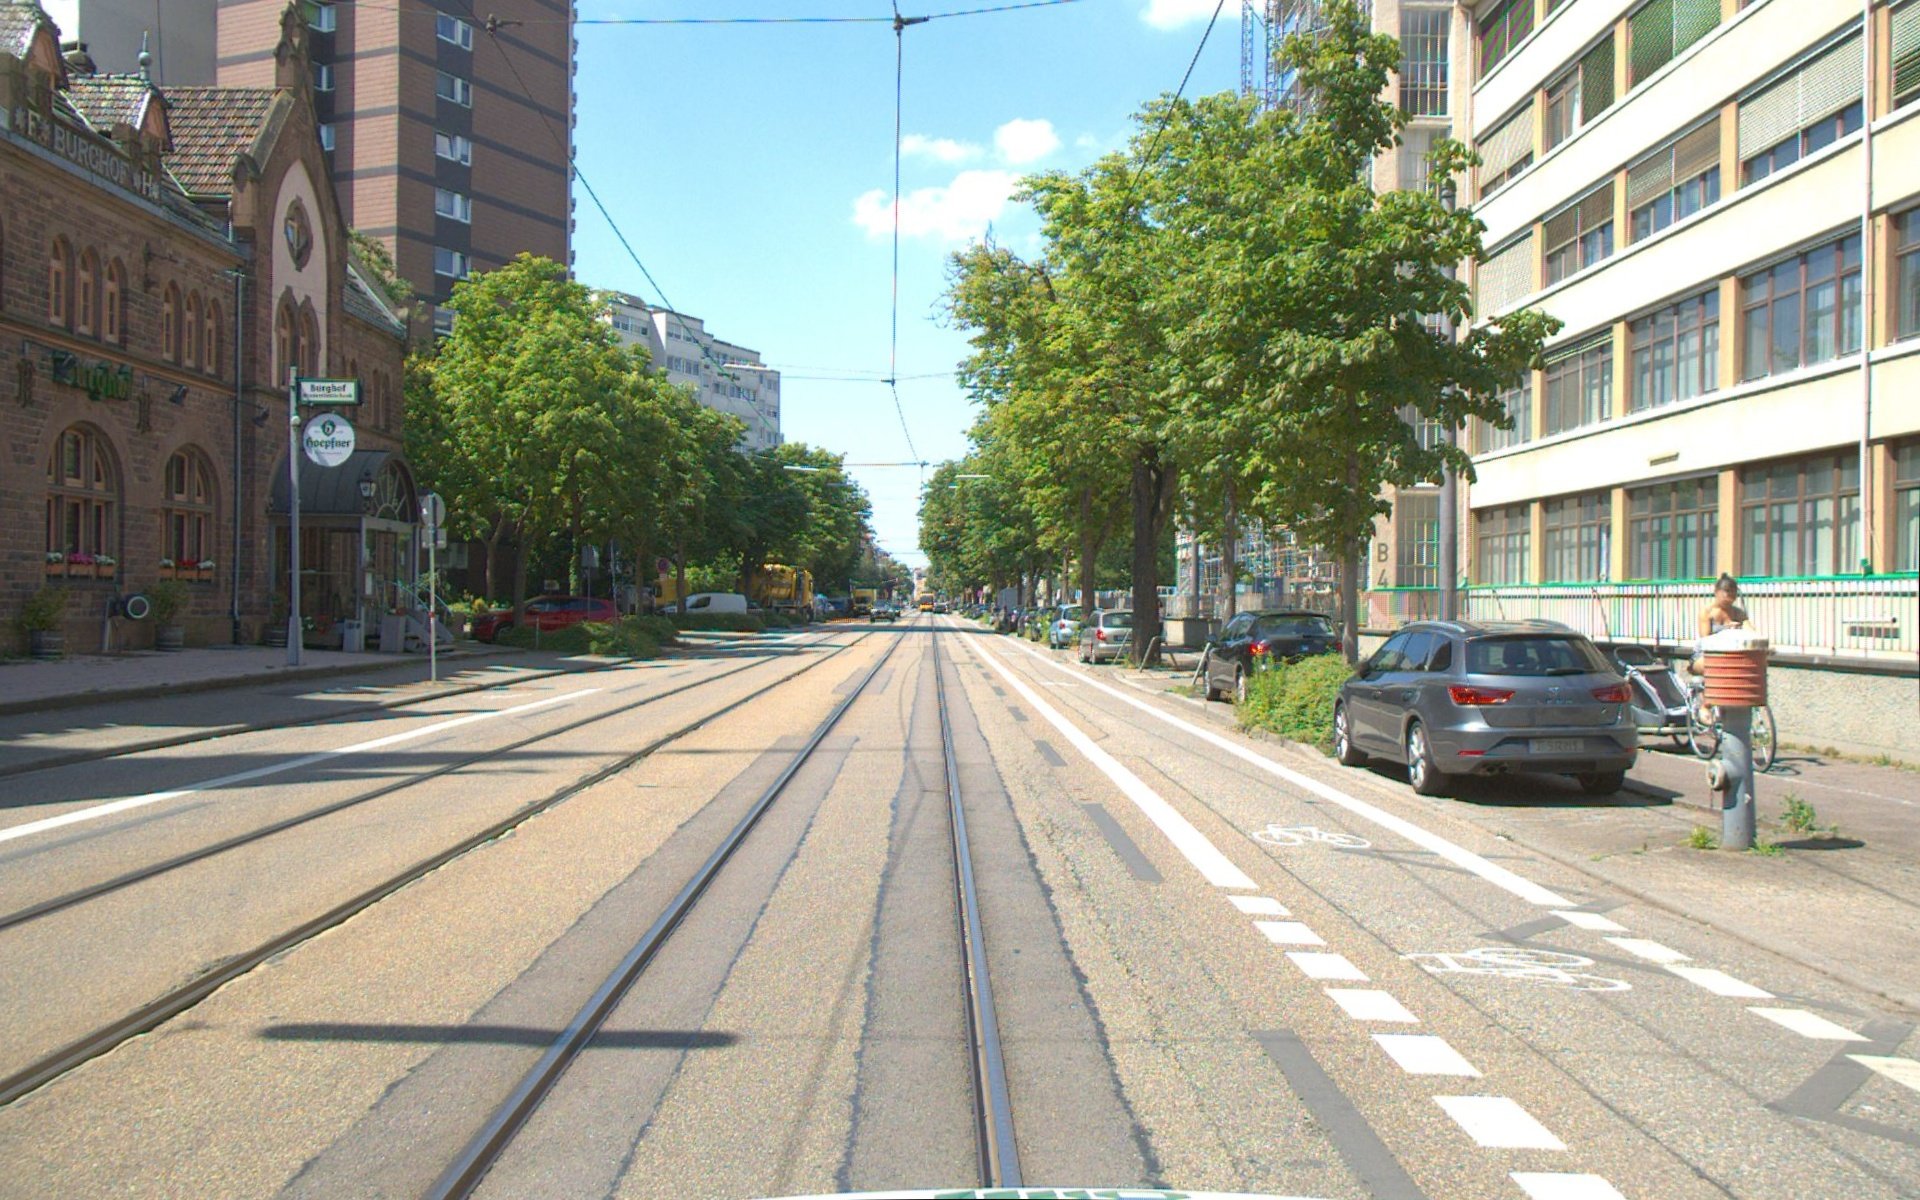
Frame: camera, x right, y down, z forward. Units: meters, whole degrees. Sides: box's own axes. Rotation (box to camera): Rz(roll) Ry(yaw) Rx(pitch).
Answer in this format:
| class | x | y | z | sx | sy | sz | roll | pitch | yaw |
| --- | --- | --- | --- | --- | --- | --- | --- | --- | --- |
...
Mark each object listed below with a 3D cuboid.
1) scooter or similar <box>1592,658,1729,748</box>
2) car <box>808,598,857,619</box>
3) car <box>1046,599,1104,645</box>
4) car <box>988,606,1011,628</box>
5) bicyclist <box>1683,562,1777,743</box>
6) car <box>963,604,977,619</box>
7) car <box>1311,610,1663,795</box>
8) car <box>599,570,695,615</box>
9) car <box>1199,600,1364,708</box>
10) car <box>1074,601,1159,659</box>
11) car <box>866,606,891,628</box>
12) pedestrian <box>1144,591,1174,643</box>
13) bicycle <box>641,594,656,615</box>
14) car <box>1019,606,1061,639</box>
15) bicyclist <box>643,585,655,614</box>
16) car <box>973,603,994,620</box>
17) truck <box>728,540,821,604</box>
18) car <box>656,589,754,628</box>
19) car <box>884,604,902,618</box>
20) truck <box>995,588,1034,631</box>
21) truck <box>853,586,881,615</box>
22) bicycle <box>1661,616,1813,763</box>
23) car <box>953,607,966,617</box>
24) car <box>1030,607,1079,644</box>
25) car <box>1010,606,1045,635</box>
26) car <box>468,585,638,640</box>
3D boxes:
| class | x | y | z | sx | sy | sz | roll | pitch | yaw |
| --- | --- | --- | --- | --- | --- | --- | --- | --- | --- |
| scooter or similar | 7.337 | 1.062 | 17.397 | 0.746 | 0.821 | 1.555 | -2 | 0 | -1 |
| car | -12.979 | 0.862 | 168.350 | 4.718 | 2.098 | 1.997 | -1 | 0 | -40 |
| car | 4.033 | 0.757 | 58.552 | 1.637 | 1.544 | 4.200 | 0 | 0 | -2 |
| car | 2.826 | 1.214 | 119.395 | 1.610 | 1.561 | 3.785 | 0 | 0 | 0 |
| bicyclist | 7.352 | 0.490 | 15.807 | 0.569 | 1.677 | 0.599 | -1 | 0 | -1 |
| car | 1.151 | 1.384 | 194.240 | 1.560 | 1.645 | 3.906 | -1 | -1 | -2 |
| car | 4.660 | 0.819 | 15.405 | 1.637 | 1.433 | 4.747 | 0 | 0 | -2 |
| car | -19.683 | -0.448 | 104.345 | 2.137 | 2.611 | 6.713 | 0 | -2 | 29 |
| car | 4.803 | 0.757 | 25.221 | 1.637 | 1.516 | 3.979 | 0 | 0 | -2 |
| car | 4.255 | 0.785 | 45.634 | 1.638 | 1.525 | 4.362 | 0 | 0 | -4 |
| car | -6.335 | 1.335 | 129.237 | 1.793 | 1.710 | 4.183 | 0 | 0 | -1 |
| pedestrian | 6.306 | 0.548 | 52.438 | 0.783 | 1.616 | 0.919 | -1 | 0 | -2 |
| bicycle | -16.431 | 0.220 | 87.309 | 0.507 | 1.065 | 1.875 | 2 | 0 | -3 |
| car | 3.741 | 1.031 | 78.227 | 1.787 | 1.497 | 4.486 | 0 | 0 | 0 |
| bicyclist | -16.420 | -0.031 | 87.308 | 0.471 | 1.507 | 0.780 | 2 | 0 | -3 |
| car | 2.149 | 1.047 | 153.230 | 1.606 | 1.511 | 3.869 | 0 | -1 | -4 |
| truck | -12.483 | -1.793 | 112.557 | 2.657 | 3.909 | 10.972 | 1 | -1 | 13 |
| car | -12.795 | 0.412 | 83.014 | 4.492 | 1.822 | 1.879 | 2 | 0 | -34 |
| car | -6.912 | 1.104 | 170.313 | 1.738 | 1.422 | 4.286 | -1 | 0 | -1 |
| truck | 3.263 | 0.554 | 99.710 | 1.974 | 2.532 | 5.954 | 0 | 0 | -2 |
| truck | -9.509 | 0.057 | 168.828 | 2.312 | 2.902 | 7.378 | -1 | 0 | 1 |
| bicycle | 7.355 | 0.811 | 15.751 | 0.543 | 1.287 | 1.773 | -2 | 0 | -1 |
| car | -0.101 | 1.684 | 231.828 | 1.676 | 1.448 | 4.308 | -1 | -1 | -1 |
| car | 3.867 | 1.045 | 68.167 | 1.637 | 1.463 | 4.040 | 0 | 0 | -2 |
| car | 3.624 | 1.078 | 89.139 | 1.786 | 1.497 | 4.401 | 0 | 0 | 1 |
| car | -12.418 | 0.398 | 50.546 | 4.713 | 1.594 | 1.982 | 1 | 0 | -30 |
